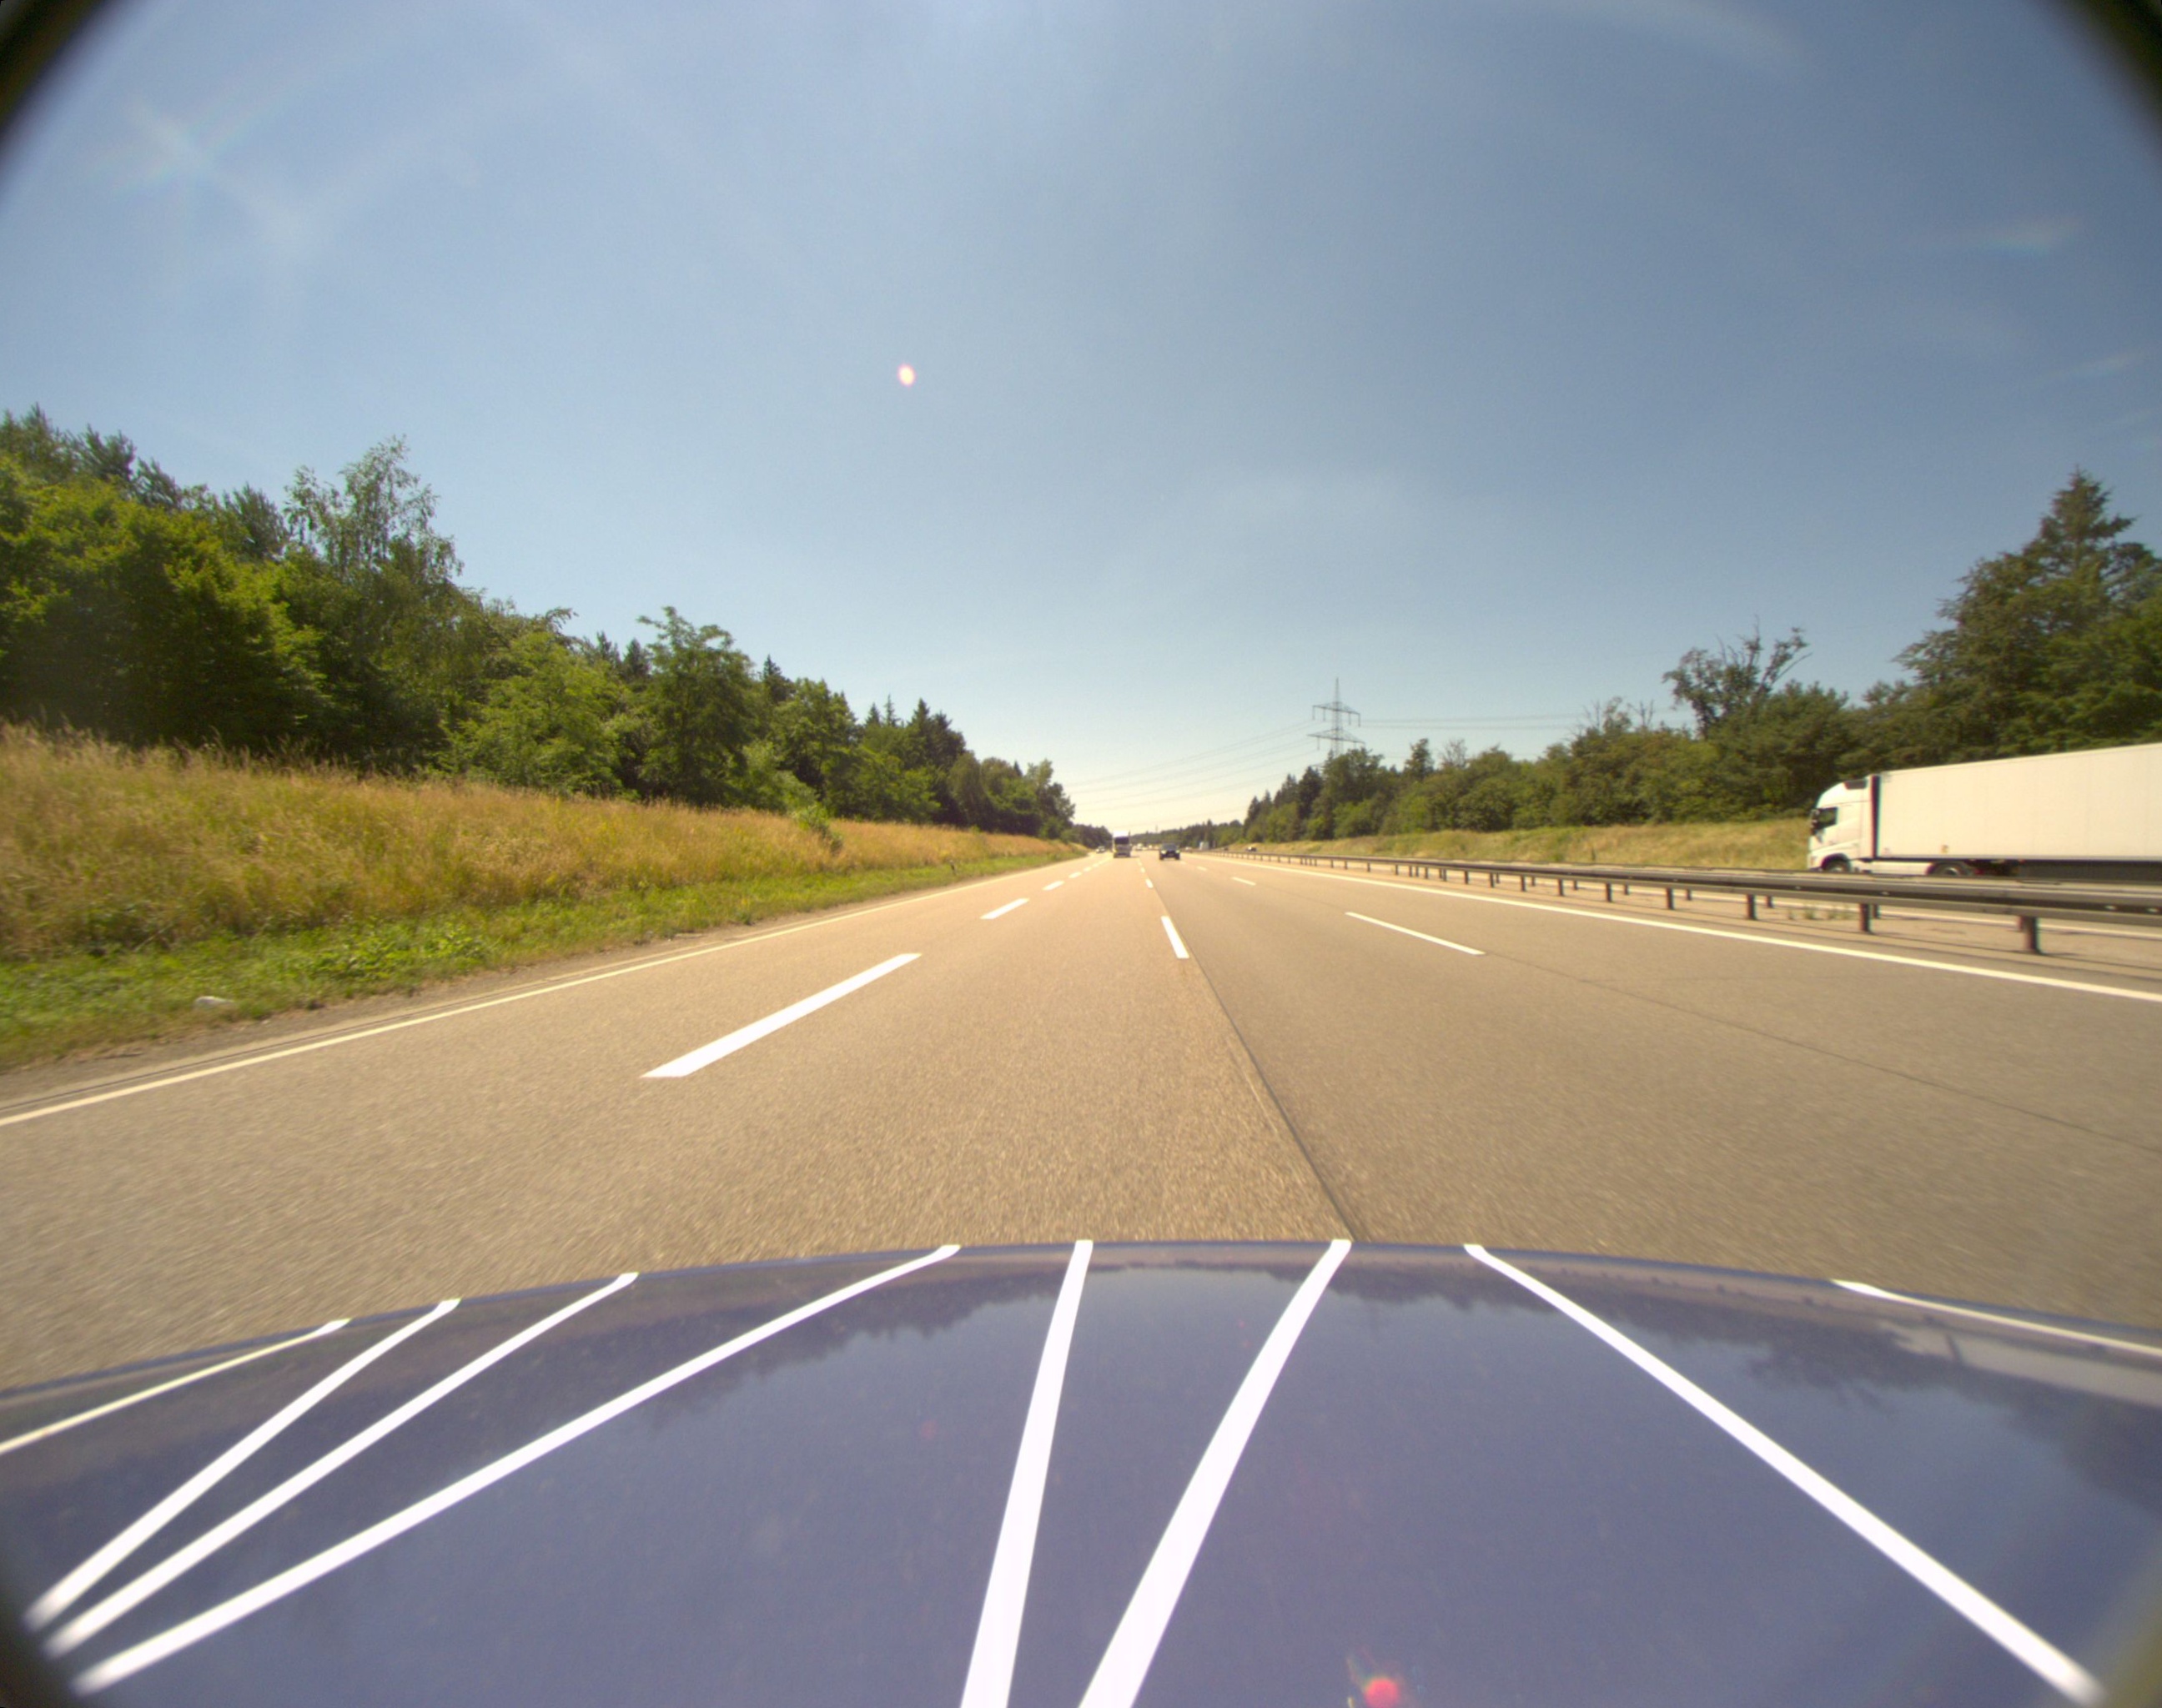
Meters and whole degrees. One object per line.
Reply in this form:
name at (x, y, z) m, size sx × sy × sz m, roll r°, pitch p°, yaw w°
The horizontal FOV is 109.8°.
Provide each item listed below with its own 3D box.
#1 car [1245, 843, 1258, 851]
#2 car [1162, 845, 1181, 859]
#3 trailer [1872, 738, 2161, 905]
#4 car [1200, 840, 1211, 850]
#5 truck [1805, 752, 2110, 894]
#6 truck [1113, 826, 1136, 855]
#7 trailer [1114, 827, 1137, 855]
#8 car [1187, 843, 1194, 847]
car at (35.051, -1.443, 156.064) m, size 1.830 × 1.501 × 4.743 m, roll -1°, pitch 1°, yaw 2°
car at (9.571, -0.246, 80.352) m, size 1.898 × 1.417 × 4.263 m, roll -2°, pitch 1°, yaw 6°
trailer at (27.679, -0.820, 18.423) m, size 3.221 × 4.019 × 14.364 m, roll -2°, pitch 1°, yaw 6°
car at (35.185, -2.514, 215.446) m, size 2.348 × 2.695 × 6.874 m, roll 1°, pitch 1°, yaw 4°
truck at (28.352, -0.929, 25.128) m, size 3.221 × 3.995 × 6.217 m, roll -2°, pitch 1°, yaw 6°
truck at (6.422, -1.893, 112.042) m, size 2.978 × 4.118 × 5.351 m, roll -1°, pitch 0°, yaw 6°
trailer at (6.985, -1.937, 117.714) m, size 2.981 × 4.118 × 11.700 m, roll -1°, pitch 0°, yaw 6°
car at (34.856, -2.854, 241.385) m, size 1.695 × 1.383 × 4.676 m, roll 1°, pitch 1°, yaw 4°
